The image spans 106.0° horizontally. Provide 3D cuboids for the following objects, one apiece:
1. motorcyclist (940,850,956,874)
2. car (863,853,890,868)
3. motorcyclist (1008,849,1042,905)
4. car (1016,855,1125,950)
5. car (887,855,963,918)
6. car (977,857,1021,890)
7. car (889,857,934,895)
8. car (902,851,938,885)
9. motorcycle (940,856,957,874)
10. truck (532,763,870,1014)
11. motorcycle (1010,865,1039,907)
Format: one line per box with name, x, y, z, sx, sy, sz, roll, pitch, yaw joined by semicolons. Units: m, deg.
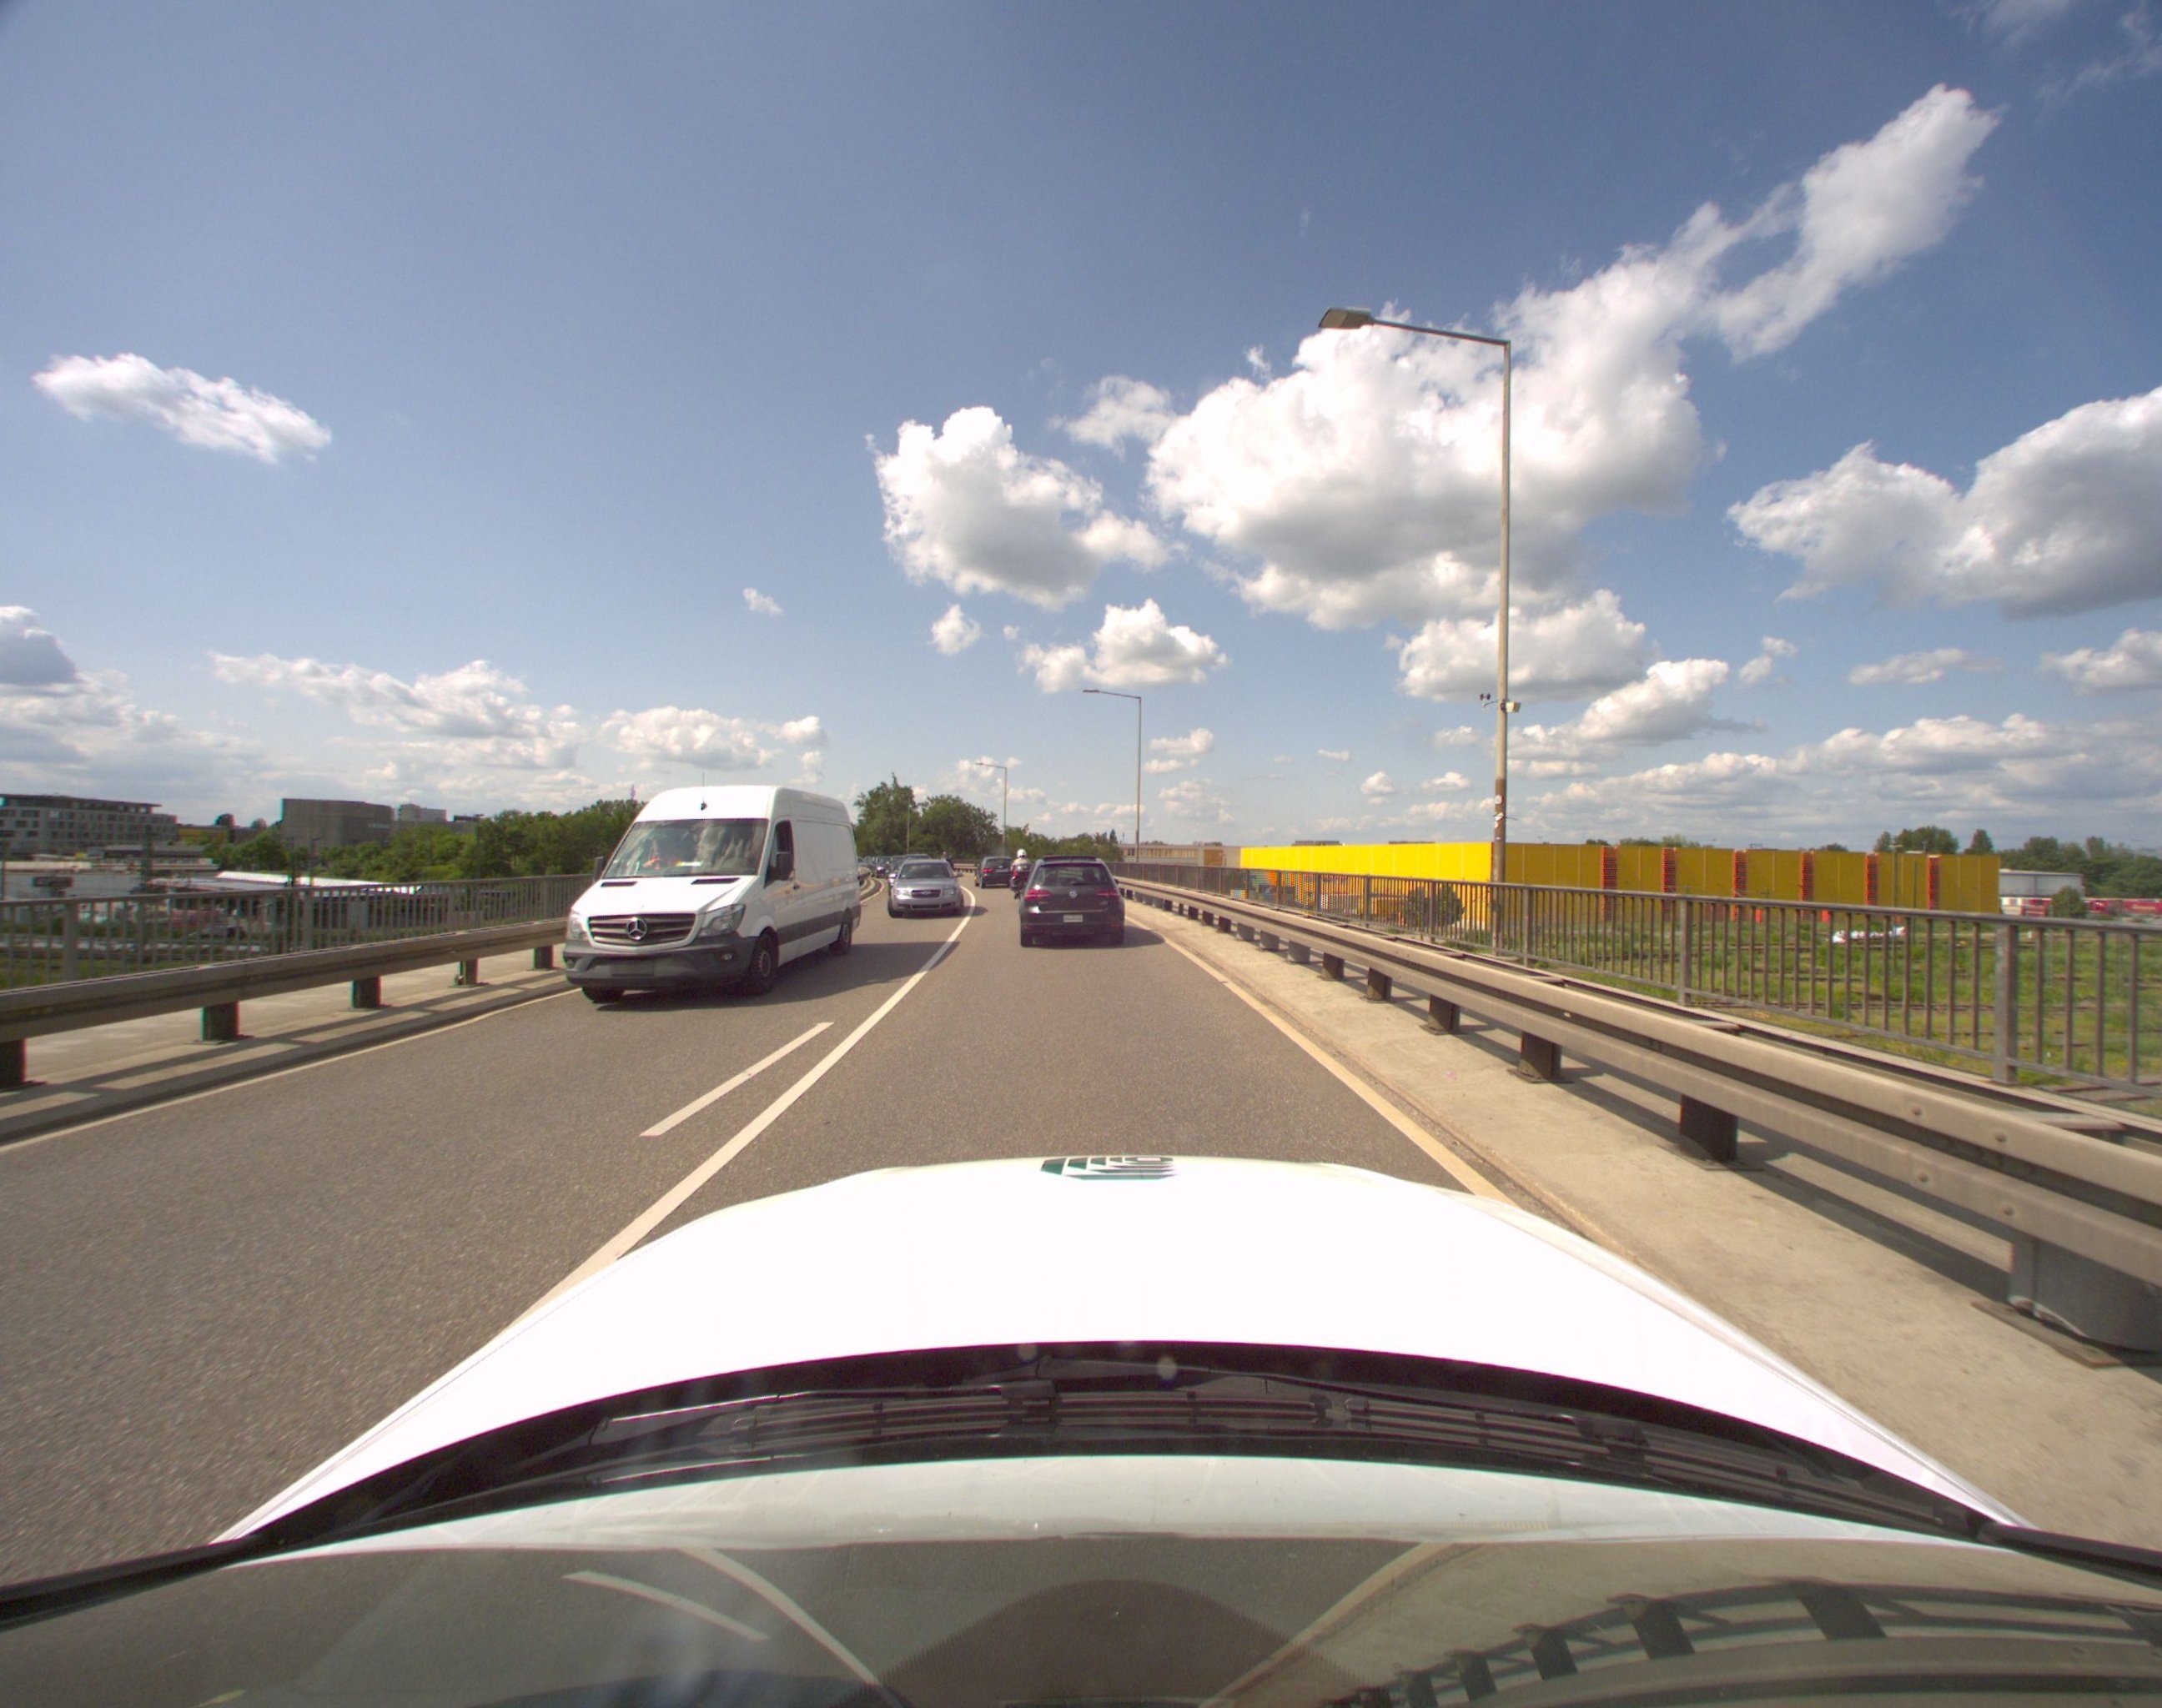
motorcyclist;-9.289;0.550;56.754;0.968;1.596;1.119;0;0;-16
car;-20.931;0.623;83.226;1.824;1.487;3.965;-2;1;-27
motorcyclist;-1.681;0.660;24.316;0.965;1.620;1.122;0;0;-6
car;-0.309;0.771;14.825;1.640;1.479;3.864;-1;0;-6
car;-4.110;0.796;21.886;1.766;1.460;4.284;-2;0;-9
car;-3.765;0.873;37.010;1.682;1.388;3.725;-1;-1;-10
car;-6.799;0.839;32.896;1.632;1.345;4.237;-2;0;-11
car;-8.331;0.657;41.908;1.686;1.596;4.264;-2;0;-13
motorcycle;-9.234;0.750;56.564;0.889;1.247;2.386;-1;0;-16
truck;-4.642;0.335;11.293;1.988;2.507;5.943;-2;0;-2
motorcycle;-1.703;0.927;24.351;0.788;1.132;2.395;-1;0;-5
